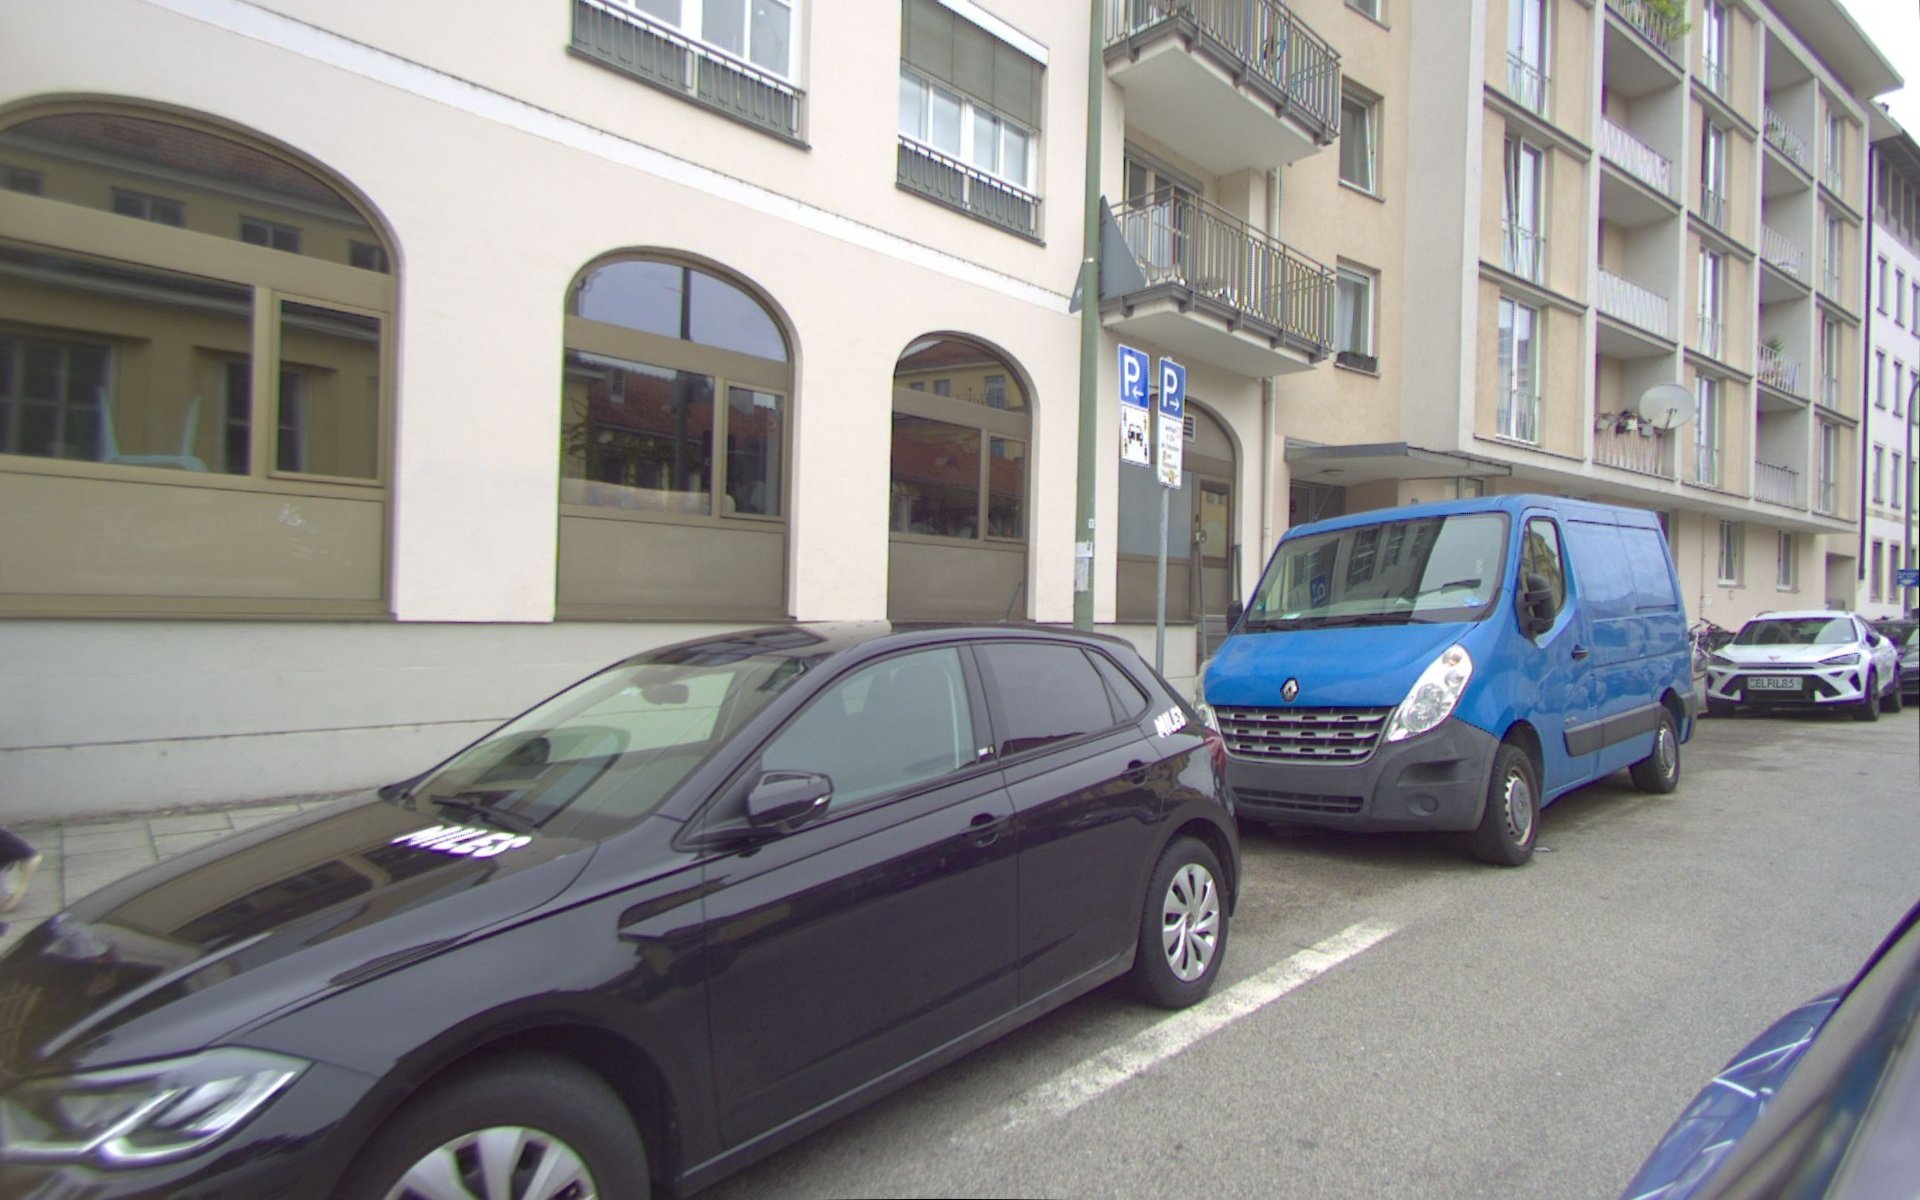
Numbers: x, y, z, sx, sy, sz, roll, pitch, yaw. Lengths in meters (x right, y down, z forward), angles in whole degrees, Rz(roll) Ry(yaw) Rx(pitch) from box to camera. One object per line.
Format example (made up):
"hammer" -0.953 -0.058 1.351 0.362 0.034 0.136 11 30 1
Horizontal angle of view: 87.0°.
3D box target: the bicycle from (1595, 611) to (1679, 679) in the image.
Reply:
"bicycle" 12.751 0.846 19.058 1.533 1.216 0.399 1 4 -20

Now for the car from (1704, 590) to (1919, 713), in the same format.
"car" 12.581 0.735 14.834 4.228 1.543 1.777 2 -4 -41

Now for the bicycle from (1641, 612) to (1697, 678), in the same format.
"bicycle" 14.021 0.880 20.005 1.345 1.216 0.448 0 4 -38

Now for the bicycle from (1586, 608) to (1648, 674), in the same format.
"bicycle" 12.782 0.782 19.686 1.259 1.216 0.419 1 4 -32

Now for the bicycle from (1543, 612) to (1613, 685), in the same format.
"bicycle" 10.976 0.847 17.975 1.257 1.216 0.415 1 4 -29

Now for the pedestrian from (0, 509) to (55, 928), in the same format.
"pedestrian" -4.168 0.448 4.031 0.816 1.626 0.807 0 2 -44

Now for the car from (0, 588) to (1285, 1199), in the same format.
"car" -0.644 0.729 3.292 1.713 1.413 3.938 -3 -2 43

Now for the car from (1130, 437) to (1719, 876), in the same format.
"car" 3.731 0.285 7.613 4.942 2.242 2.111 -2 -2 -42

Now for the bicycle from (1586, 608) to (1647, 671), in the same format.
"bicycle" 13.324 0.790 20.535 1.315 1.216 0.395 1 4 -30

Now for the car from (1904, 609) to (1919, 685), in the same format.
"car" 20.851 0.921 20.573 4.043 1.488 1.705 1 -4 -37

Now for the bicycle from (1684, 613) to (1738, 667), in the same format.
"bicycle" 17.040 0.895 22.962 1.571 1.171 0.515 1 2 -37

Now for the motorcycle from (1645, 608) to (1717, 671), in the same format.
"motorcycle" 15.530 0.829 21.793 2.003 1.286 0.637 1 2 -37

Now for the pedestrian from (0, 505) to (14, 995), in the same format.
"pedestrian" -3.714 0.497 3.363 0.679 1.648 0.816 3 2 45

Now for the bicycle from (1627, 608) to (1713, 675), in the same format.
"bicycle" 14.550 0.828 20.760 1.337 1.216 0.388 6 5 42

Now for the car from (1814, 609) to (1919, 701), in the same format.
"car" 16.917 0.928 17.759 4.603 1.448 1.777 1 -4 -35

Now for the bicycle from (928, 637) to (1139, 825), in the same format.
"bicycle" 0.565 0.830 7.036 0.564 1.083 1.763 2 0 37
